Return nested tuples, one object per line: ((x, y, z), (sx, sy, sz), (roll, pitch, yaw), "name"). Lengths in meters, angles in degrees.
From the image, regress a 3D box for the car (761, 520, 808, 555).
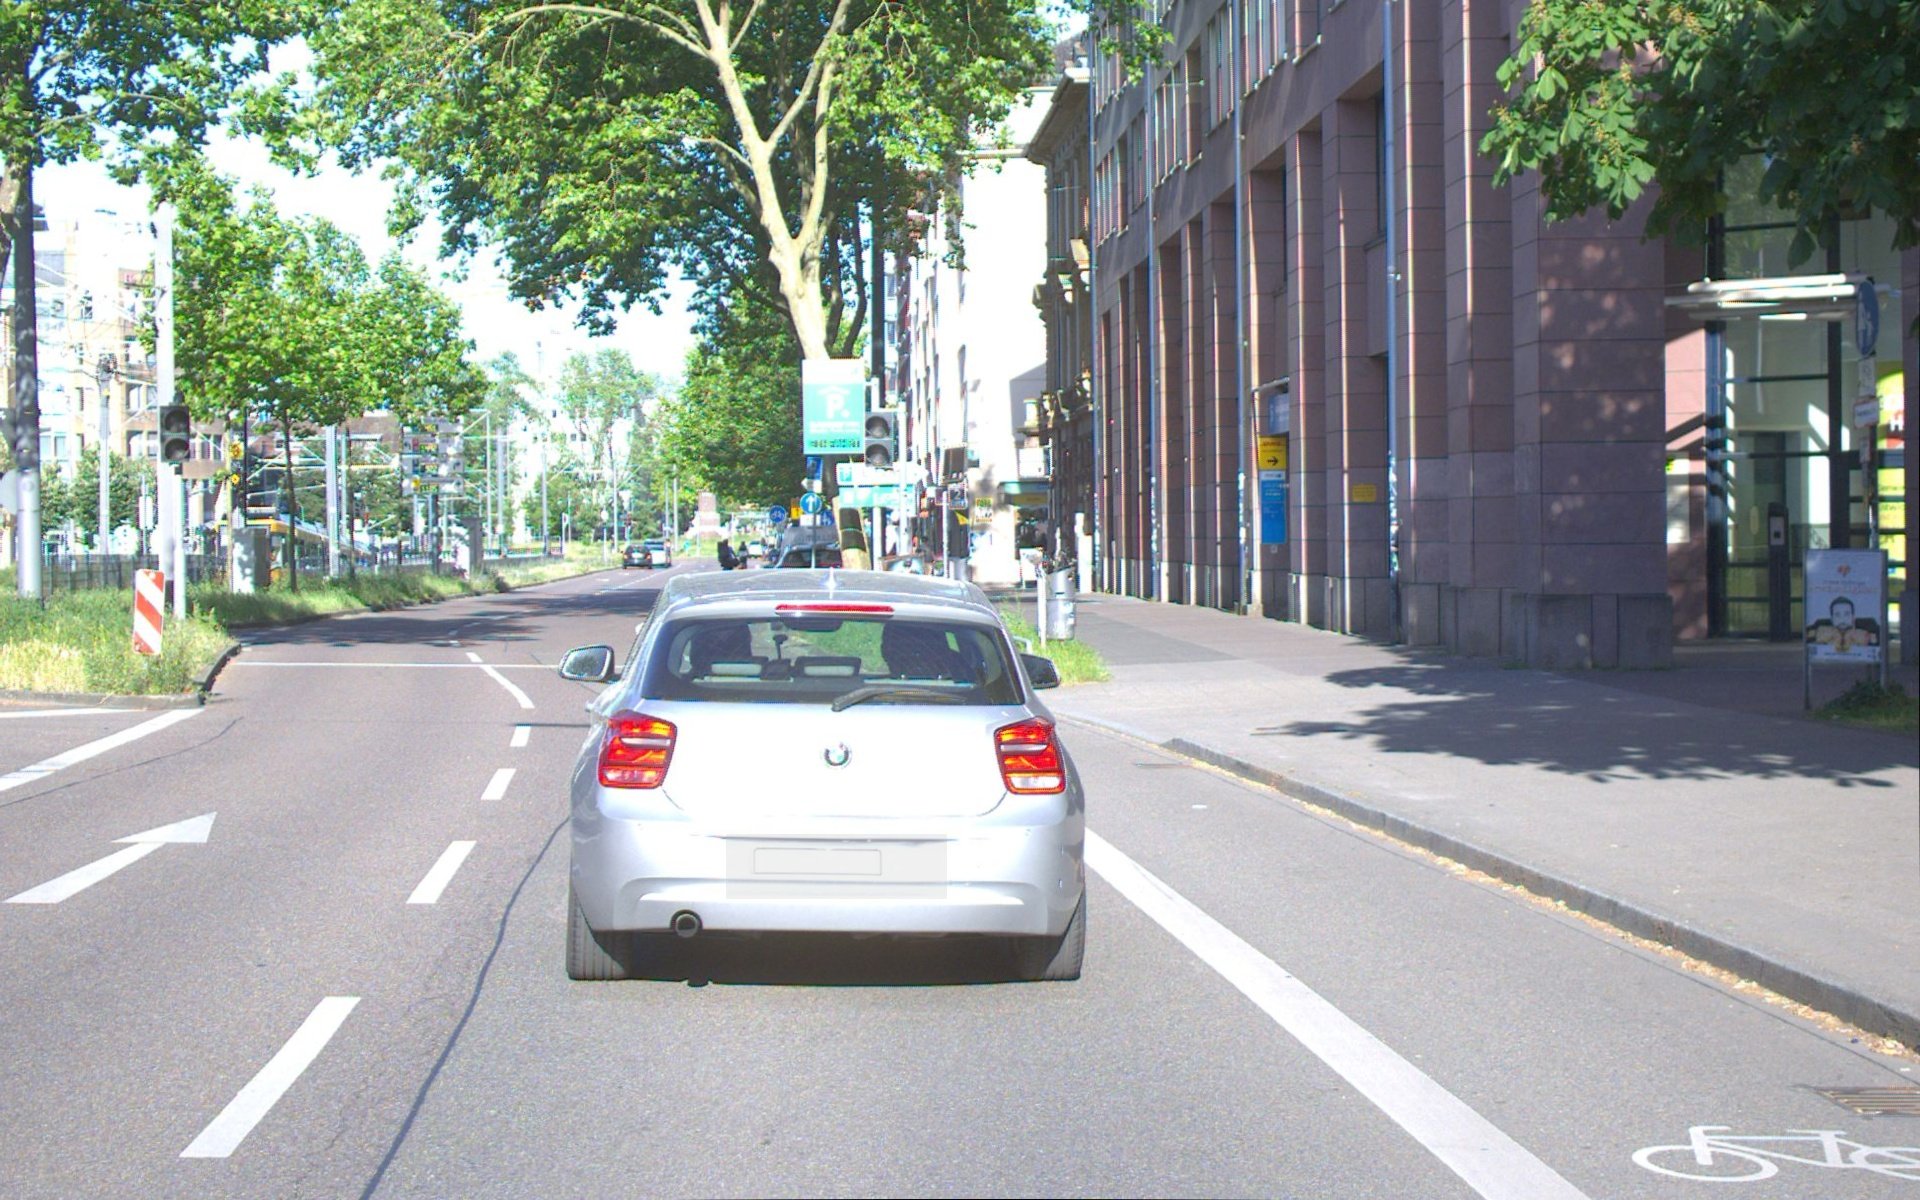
((-7.721, -2.772, 151.865), (2.038, 1.504, 4.594), (0, 1, -3), "car")

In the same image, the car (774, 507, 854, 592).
((-3.659, -1.260, 85.544), (1.856, 2.007, 4.724), (1, 1, -3), "car")

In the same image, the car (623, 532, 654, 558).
((-18.671, -3.184, 199.576), (1.726, 1.465, 4.411), (0, 1, -6), "car")

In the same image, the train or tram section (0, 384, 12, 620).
((-16.853, -1.560, 52.030), (2.952, 3.883, 10.805), (1, 1, -6), "train or tram section")

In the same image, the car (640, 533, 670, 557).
((-18.437, -3.329, 207.796), (1.644, 1.416, 4.001), (1, 1, -3), "car")

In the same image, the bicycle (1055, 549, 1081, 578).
((2.966, -1.002, 94.649), (0.548, 0.771, 1.663), (-2, 1, -4), "bicycle")

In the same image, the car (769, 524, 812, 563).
((-7.117, -2.388, 144.268), (1.694, 1.497, 3.802), (-3, 2, -3), "car")

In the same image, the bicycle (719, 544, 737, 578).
((-7.379, -1.246, 109.430), (0.499, 1.085, 1.997), (1, 1, -3), "bicycle")

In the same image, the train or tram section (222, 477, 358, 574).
((-26.307, -2.961, 136.072), (2.963, 3.472, 21.222), (1, 1, -5), "train or tram section")

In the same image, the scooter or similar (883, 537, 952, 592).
((-0.975, -0.806, 78.342), (1.540, 1.233, 0.449), (-1, 1, -2), "scooter or similar")

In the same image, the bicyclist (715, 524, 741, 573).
((-7.402, -1.637, 109.523), (0.785, 1.526, 0.895), (1, 1, -3), "bicyclist")

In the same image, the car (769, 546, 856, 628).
((-2.943, -0.280, 69.015), (1.668, 1.565, 4.280), (1, 1, -2), "car")

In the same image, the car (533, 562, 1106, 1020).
((-0.508, 0.591, 12.977), (1.798, 1.410, 4.000), (1, 1, -2), "car")
